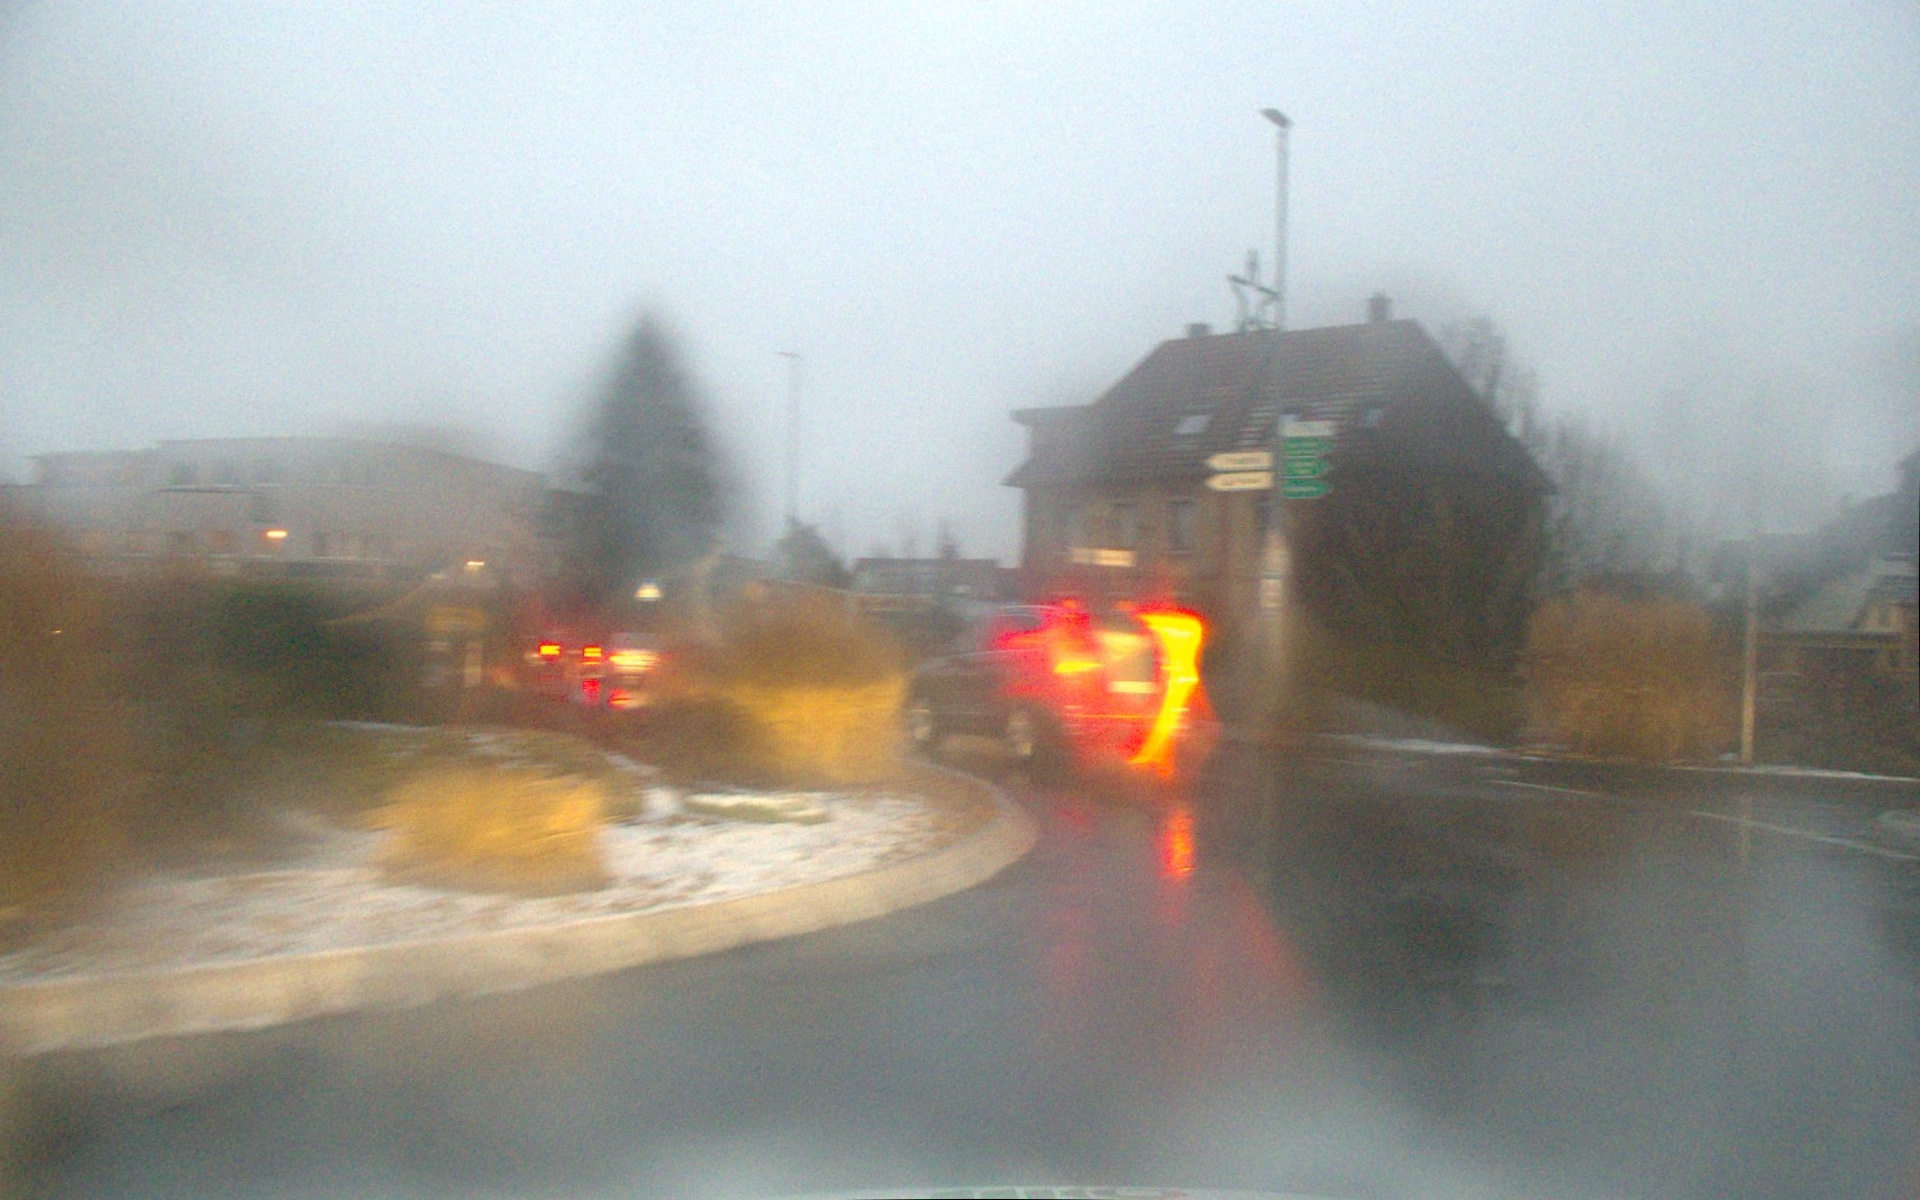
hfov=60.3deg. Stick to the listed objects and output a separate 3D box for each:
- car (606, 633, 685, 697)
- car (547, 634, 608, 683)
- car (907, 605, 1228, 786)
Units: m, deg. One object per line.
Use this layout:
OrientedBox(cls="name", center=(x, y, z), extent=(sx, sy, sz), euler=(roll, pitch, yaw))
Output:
OrientedBox(cls="car", center=(-8.701, 1.796, 45.492), extent=(1.851, 1.643, 4.553), euler=(1, -3, -14))
OrientedBox(cls="car", center=(-12.812, 1.969, 55.254), extent=(1.851, 1.575, 4.553), euler=(1, -3, -14))
OrientedBox(cls="car", center=(1.043, 0.957, 18.176), extent=(1.918, 1.748, 3.971), euler=(2, -1, -23))
